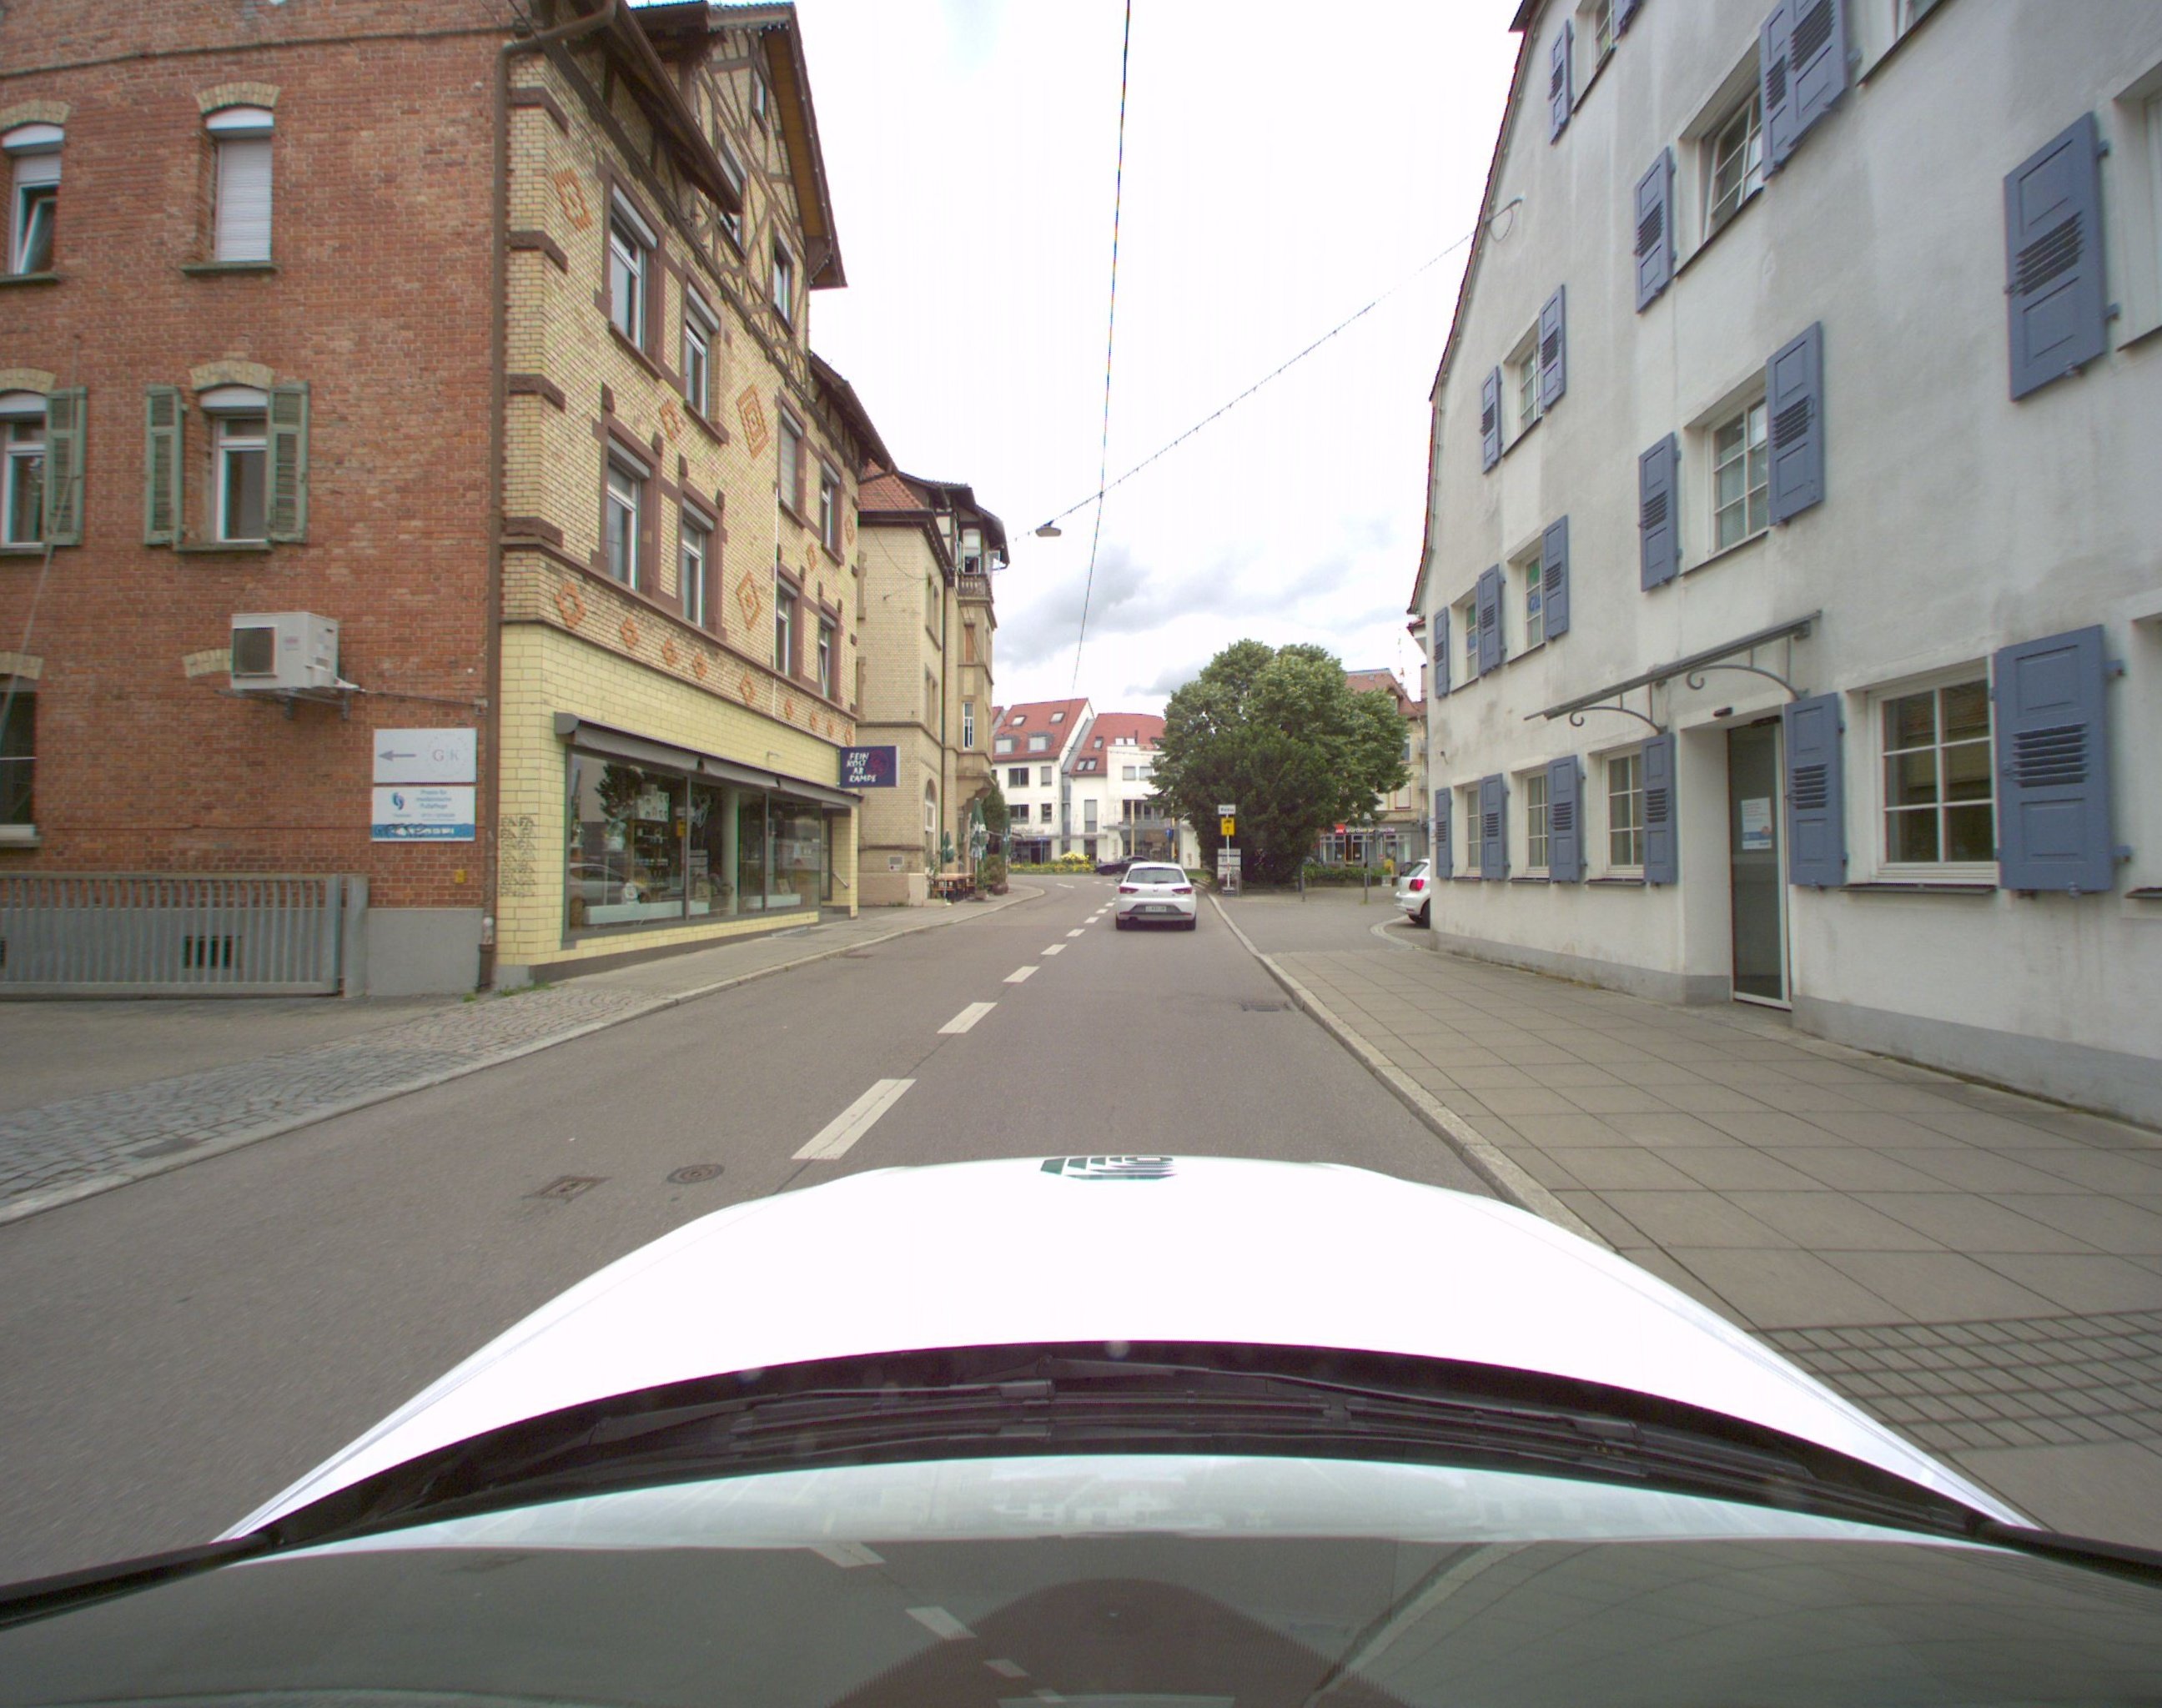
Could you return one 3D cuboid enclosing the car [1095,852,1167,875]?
[{"bbox_3d":[3.426,0.659,56.080,4.883,1.557,2.251,0,0,2],"label":"car"}]

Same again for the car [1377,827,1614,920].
[{"bbox_3d":[8.553,0.392,17.096,3.972,1.838,2.001,0,0,1],"label":"car"}]

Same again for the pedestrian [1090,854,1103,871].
[{"bbox_3d":[1.188,0.637,62.448,0.716,1.312,0.794,0,-1,-25],"label":"pedestrian"}]

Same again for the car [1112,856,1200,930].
[{"bbox_3d":[1.747,0.820,18.750,1.802,1.480,3.877,-1,0,6],"label":"car"}]

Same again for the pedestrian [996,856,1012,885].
[{"bbox_3d":[-4.084,0.878,43.214,0.832,1.552,0.626,-1,-1,-4],"label":"pedestrian"}]
